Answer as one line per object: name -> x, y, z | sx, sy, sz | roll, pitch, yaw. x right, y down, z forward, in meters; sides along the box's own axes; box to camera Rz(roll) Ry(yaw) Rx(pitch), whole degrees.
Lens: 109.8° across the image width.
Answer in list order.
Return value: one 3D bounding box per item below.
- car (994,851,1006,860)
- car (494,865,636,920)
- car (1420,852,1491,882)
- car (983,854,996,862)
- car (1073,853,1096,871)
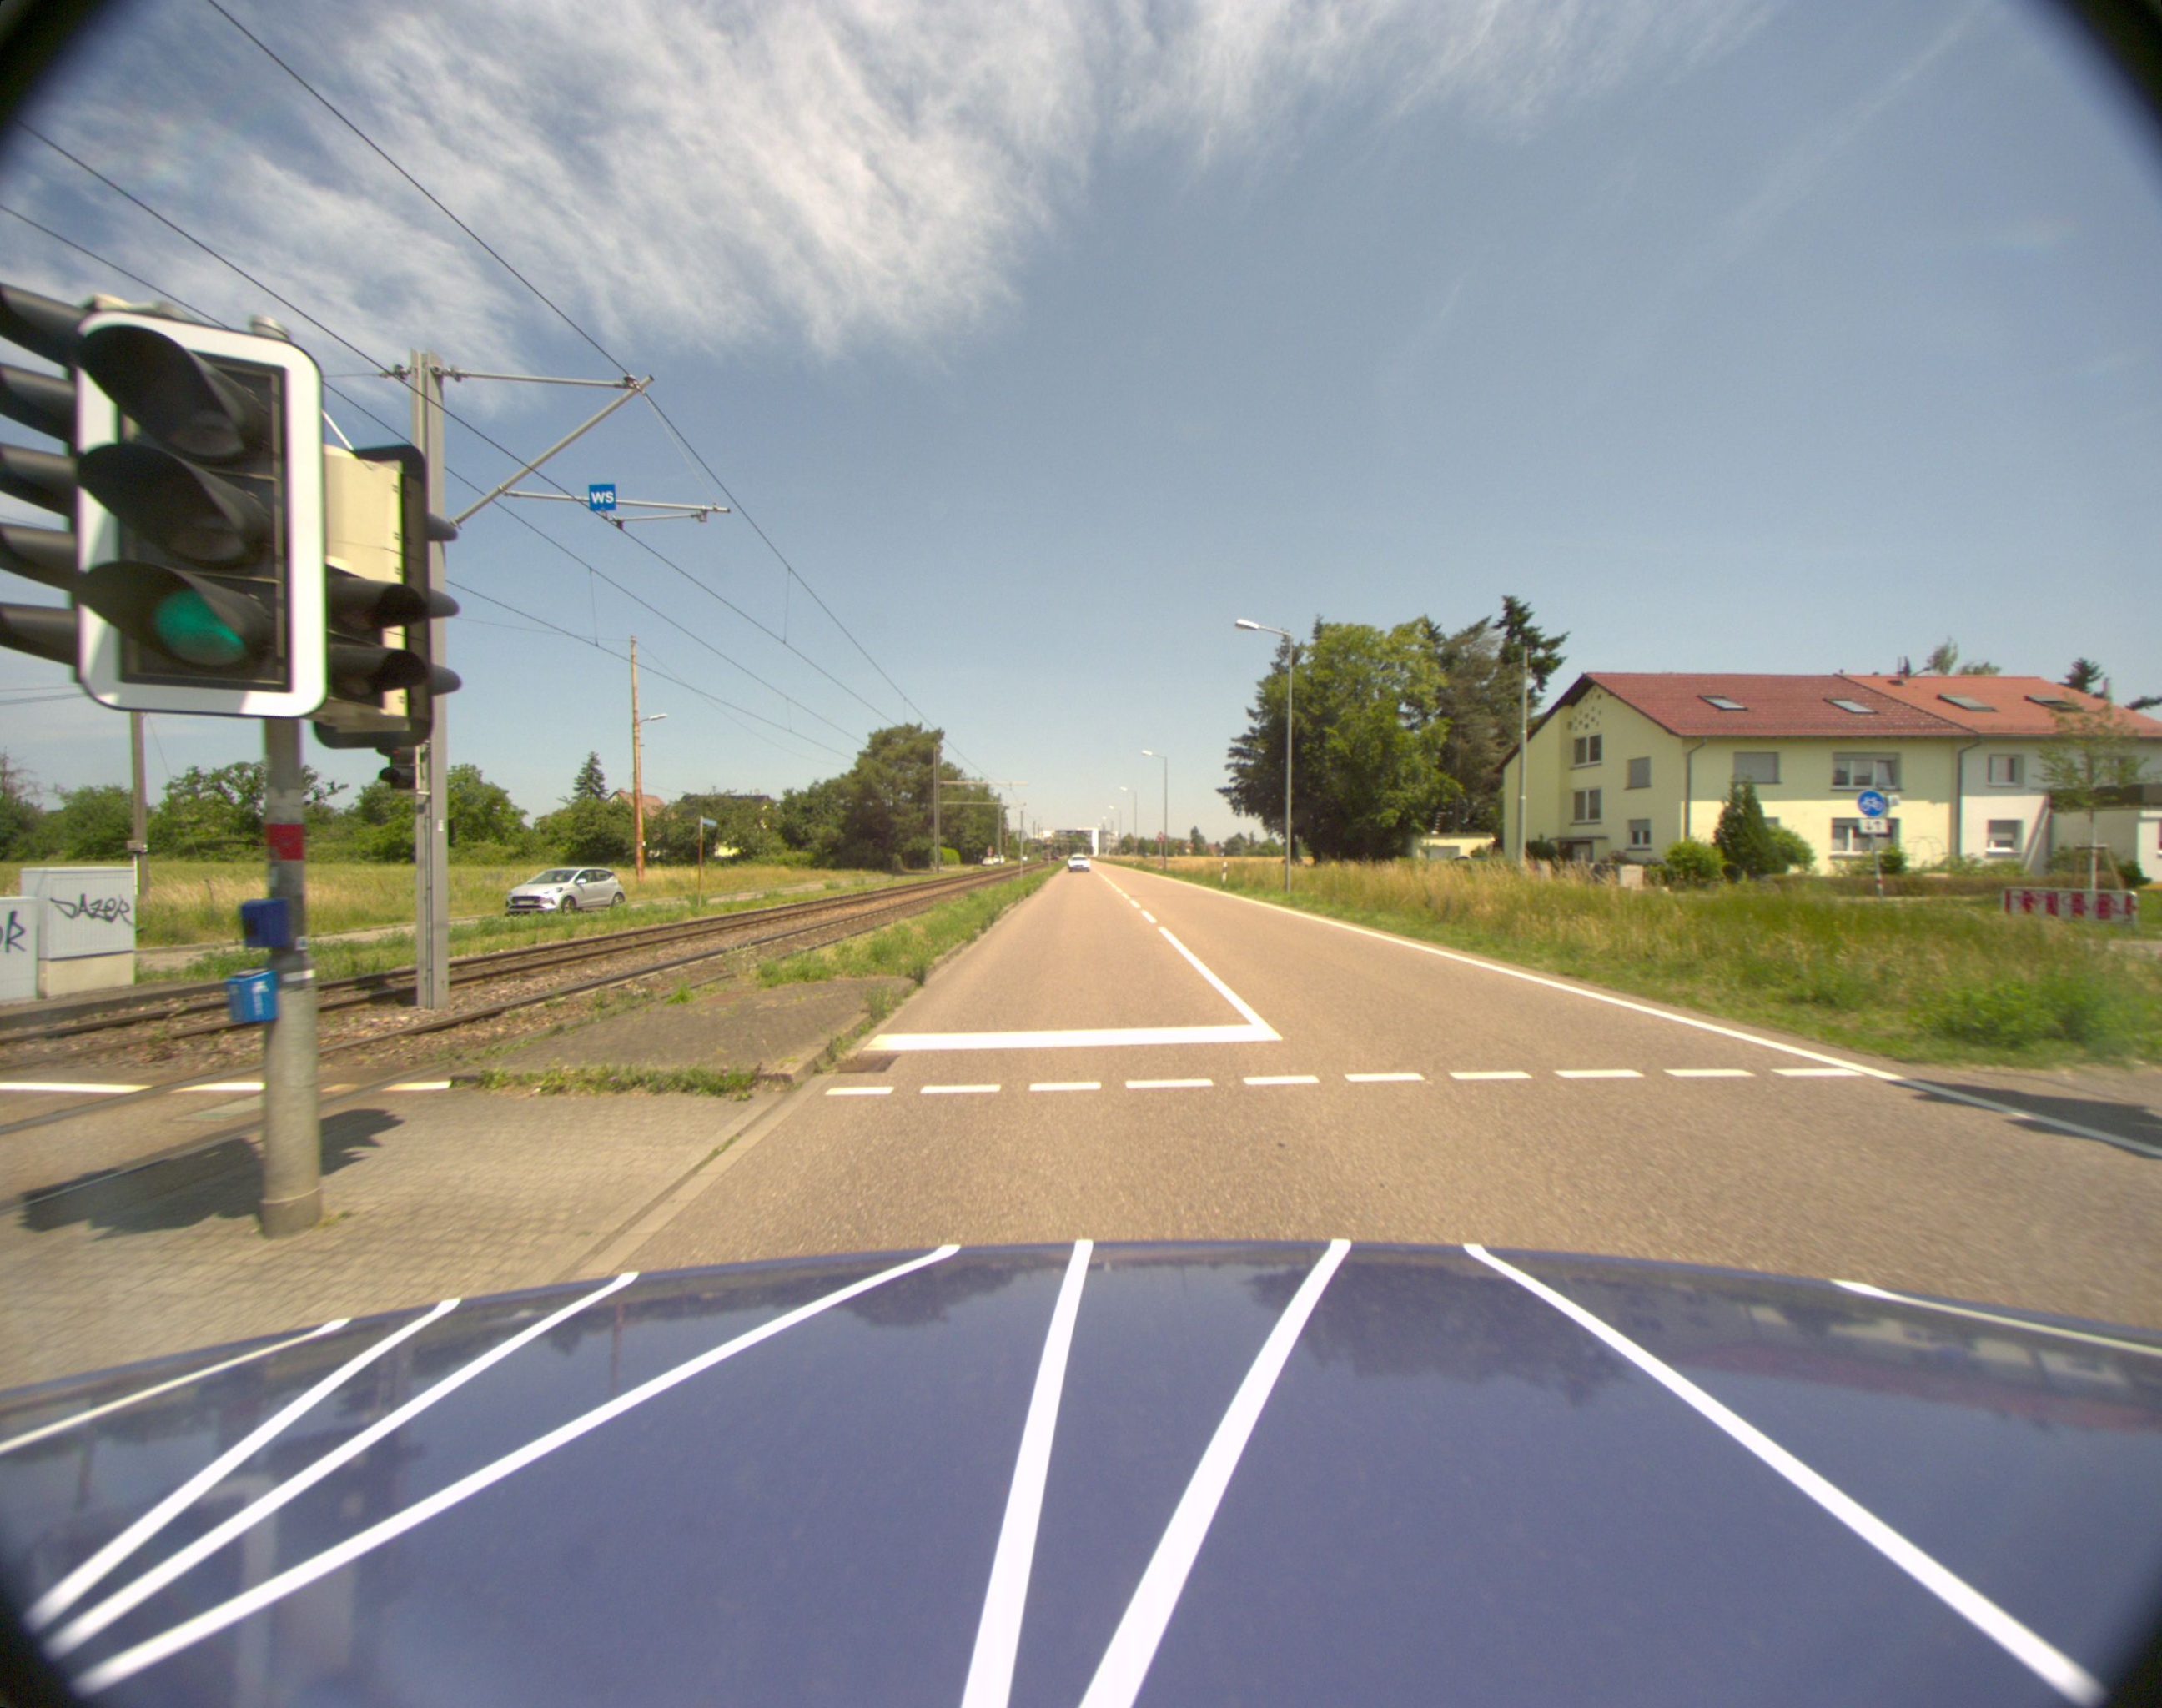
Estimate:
car -> -16.789, 0.374, 157.673 | 1.863, 1.816, 4.587 | -1, 1, 0
car -> -16.375, 1.177, 24.381 | 1.717, 1.480, 4.001 | -1, 1, 1
car -> 20.223, 0.657, 41.224 | 1.710, 1.483, 4.186 | -1, 1, 0
car -> -16.608, 0.690, 137.785 | 1.923, 1.376, 3.999 | -1, 1, 0
car -> 0.310, 0.706, 67.006 | 1.856, 1.447, 3.706 | -1, 1, 0
